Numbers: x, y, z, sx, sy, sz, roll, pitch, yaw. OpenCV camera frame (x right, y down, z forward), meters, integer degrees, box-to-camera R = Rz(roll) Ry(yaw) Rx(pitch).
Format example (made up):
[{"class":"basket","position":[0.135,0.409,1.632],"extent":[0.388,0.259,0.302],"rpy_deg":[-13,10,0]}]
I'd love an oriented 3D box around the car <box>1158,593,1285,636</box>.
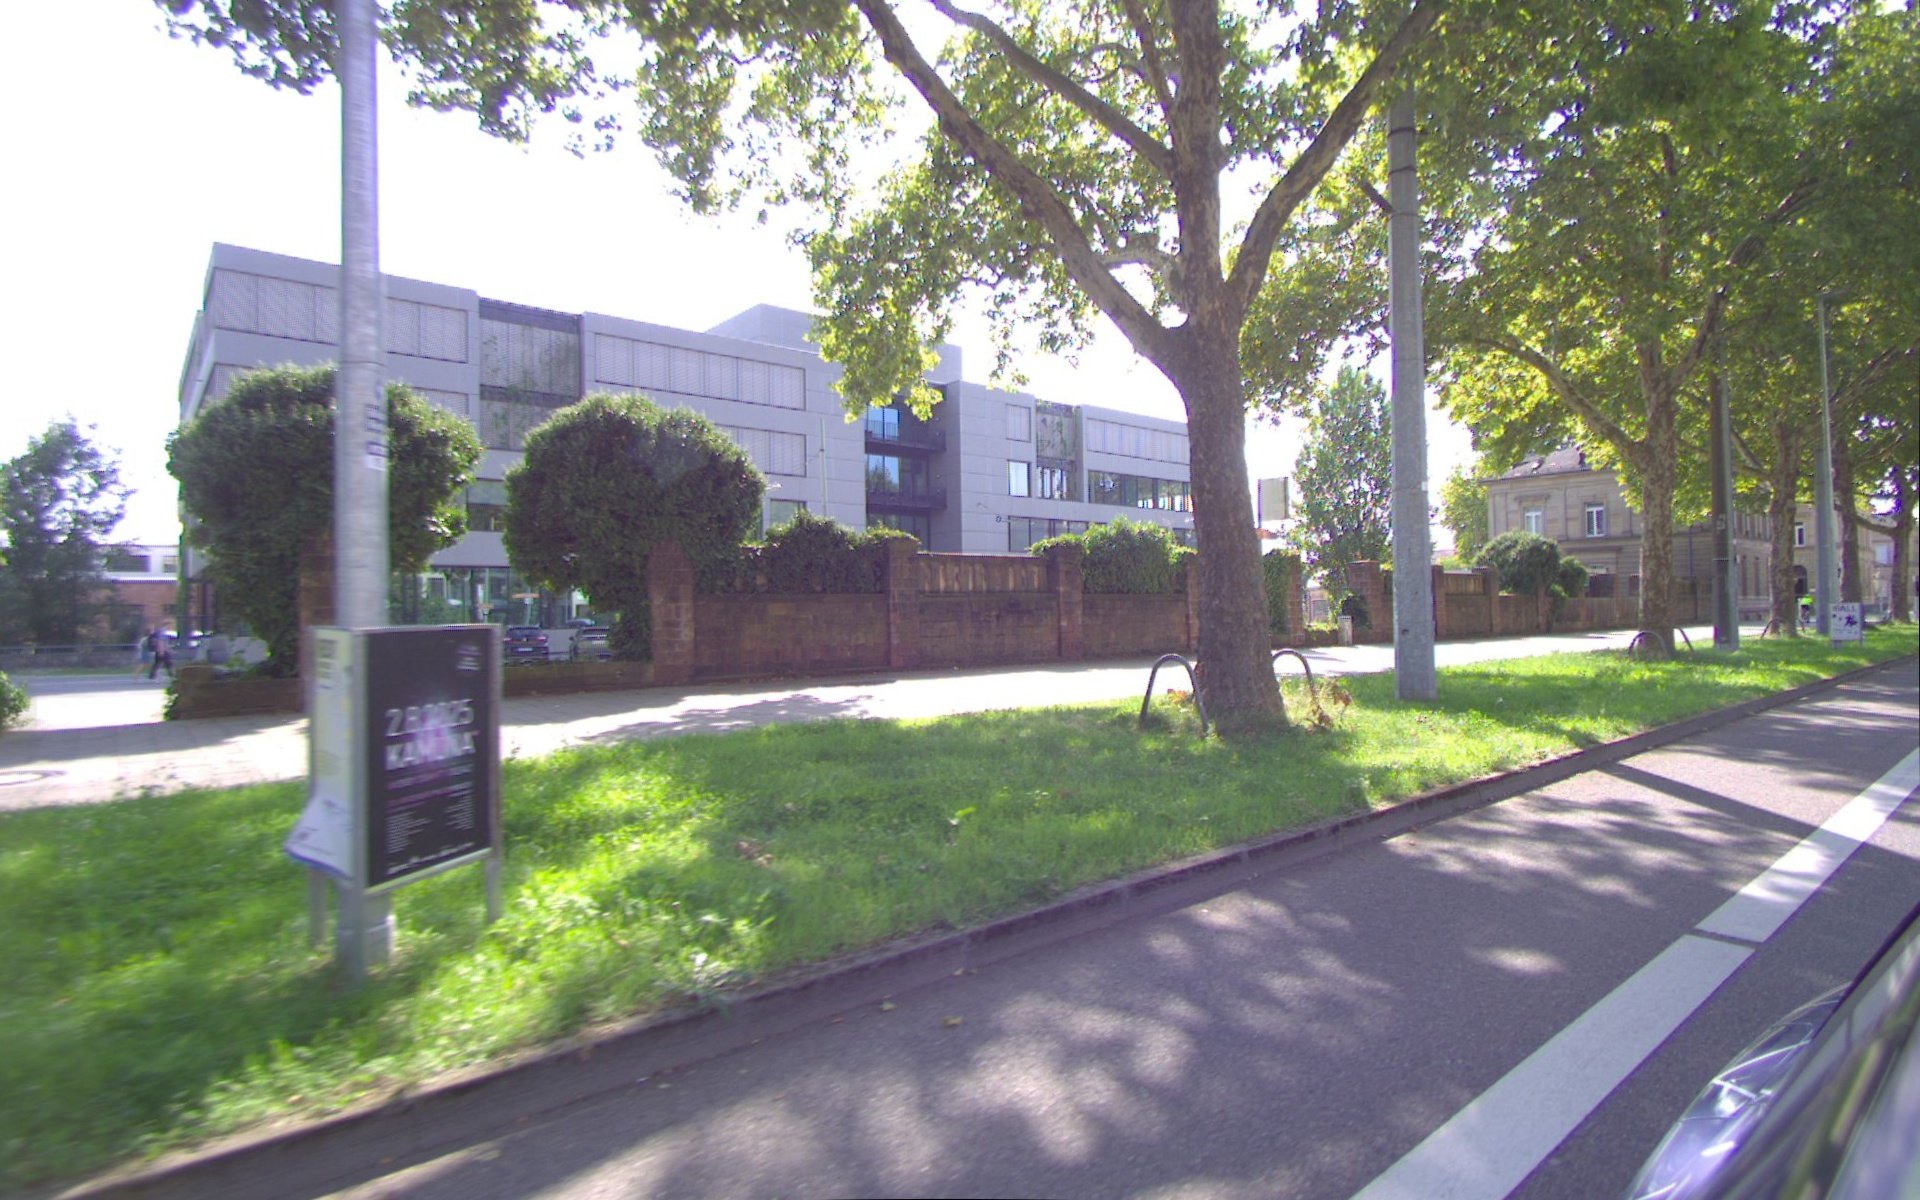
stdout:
[{"class":"car","position":[9.355,0.524,36.367],"extent":[1.966,1.436,3.990],"rpy_deg":[0,-1,-43]}]

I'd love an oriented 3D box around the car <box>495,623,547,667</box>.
[{"class":"car","position":[-17.241,1.724,39.764],"extent":[1.778,1.475,3.981],"rpy_deg":[0,1,-23]}]

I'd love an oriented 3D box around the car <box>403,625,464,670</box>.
[{"class":"car","position":[-19.999,1.757,38.577],"extent":[1.778,1.475,3.981],"rpy_deg":[0,1,-23]}]

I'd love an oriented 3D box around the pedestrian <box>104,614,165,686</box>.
[{"class":"pedestrian","position":[-24.471,1.460,30.005],"extent":[1.364,2.039,1.079],"rpy_deg":[0,-1,-41]}]

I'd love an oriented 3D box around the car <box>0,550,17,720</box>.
[{"class":"car","position":[-14.363,0.508,13.447],"extent":[2.210,2.465,5.387],"rpy_deg":[0,-1,-38]}]

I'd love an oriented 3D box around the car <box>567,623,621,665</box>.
[{"class":"car","position":[-14.928,1.732,41.180],"extent":[1.778,1.475,3.981],"rpy_deg":[0,1,-24]}]

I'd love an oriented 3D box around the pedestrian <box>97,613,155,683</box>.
[{"class":"pedestrian","position":[-25.312,1.421,30.710],"extent":[1.334,2.039,0.940],"rpy_deg":[0,-1,-41]}]

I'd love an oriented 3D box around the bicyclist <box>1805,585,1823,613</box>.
[{"class":"bicyclist","position":[44.994,-0.066,53.317],"extent":[0.827,1.472,0.549],"rpy_deg":[0,-1,-40]}]

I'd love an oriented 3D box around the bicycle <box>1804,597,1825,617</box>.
[{"class":"bicycle","position":[45.005,0.378,53.307],"extent":[1.683,1.020,0.549],"rpy_deg":[0,-1,-41]}]
